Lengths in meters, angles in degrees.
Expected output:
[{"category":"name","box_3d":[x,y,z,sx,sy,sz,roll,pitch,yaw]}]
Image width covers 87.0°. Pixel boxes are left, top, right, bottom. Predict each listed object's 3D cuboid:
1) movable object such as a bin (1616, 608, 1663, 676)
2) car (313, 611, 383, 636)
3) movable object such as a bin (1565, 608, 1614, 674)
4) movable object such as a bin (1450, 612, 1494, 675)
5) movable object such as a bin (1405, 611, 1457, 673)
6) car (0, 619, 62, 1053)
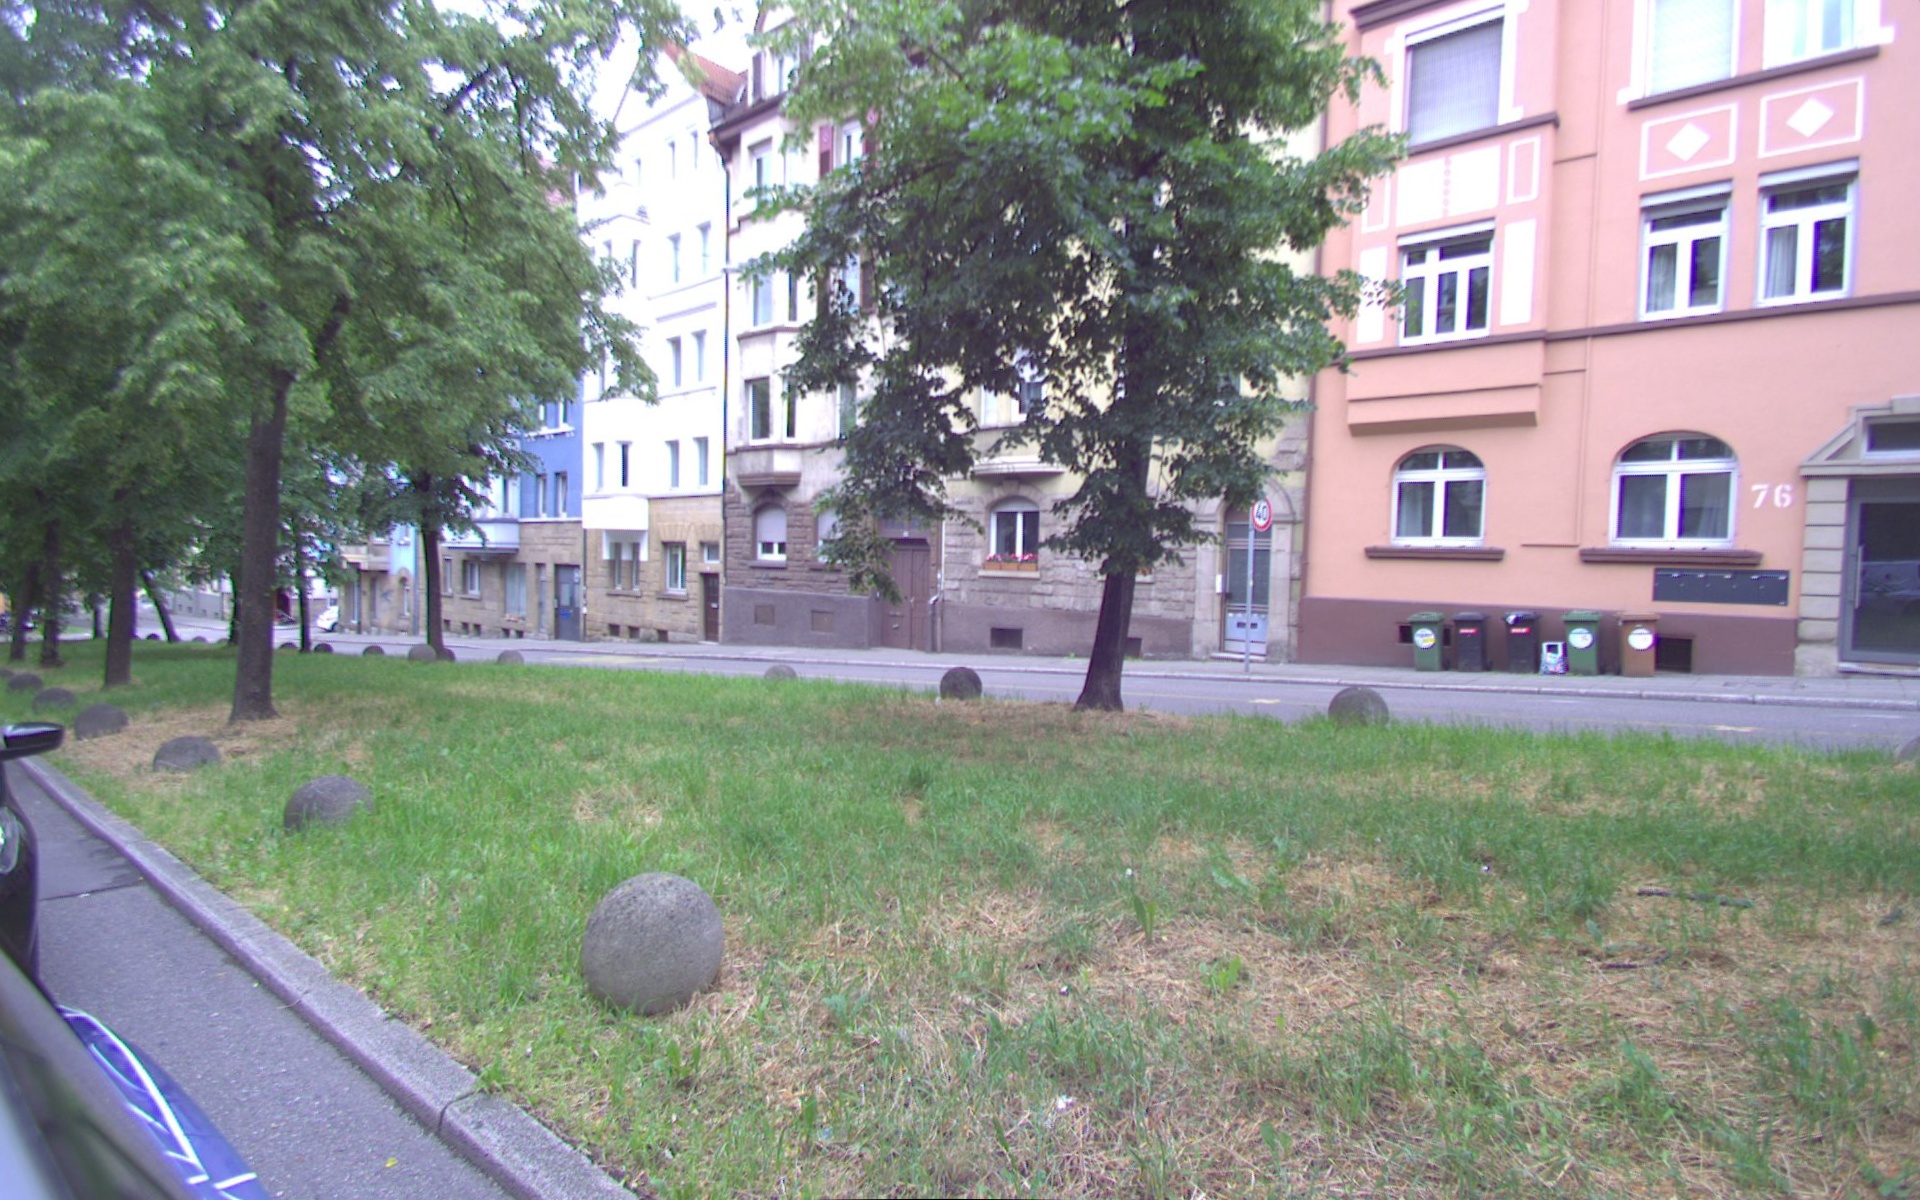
[{"category":"movable object such as a bin","box_3d":[9.639,0.581,14.343,0.514,0.928,0.750,-1,0,36]},{"category":"car","box_3d":[-35.365,1.352,58.476,3.244,1.341,1.674,-1,0,-40]},{"category":"movable object such as a bin","box_3d":[9.173,0.587,14.741,0.558,0.928,0.648,-1,0,36]},{"category":"movable object such as a bin","box_3d":[7.990,0.672,15.783,0.531,0.953,0.575,-1,0,35]},{"category":"movable object such as a bin","box_3d":[7.531,0.659,16.178,0.617,0.955,0.610,-1,0,40]},{"category":"car","box_3d":[-4.943,0.806,4.051,3.295,1.476,1.590,-1,-2,41]}]
